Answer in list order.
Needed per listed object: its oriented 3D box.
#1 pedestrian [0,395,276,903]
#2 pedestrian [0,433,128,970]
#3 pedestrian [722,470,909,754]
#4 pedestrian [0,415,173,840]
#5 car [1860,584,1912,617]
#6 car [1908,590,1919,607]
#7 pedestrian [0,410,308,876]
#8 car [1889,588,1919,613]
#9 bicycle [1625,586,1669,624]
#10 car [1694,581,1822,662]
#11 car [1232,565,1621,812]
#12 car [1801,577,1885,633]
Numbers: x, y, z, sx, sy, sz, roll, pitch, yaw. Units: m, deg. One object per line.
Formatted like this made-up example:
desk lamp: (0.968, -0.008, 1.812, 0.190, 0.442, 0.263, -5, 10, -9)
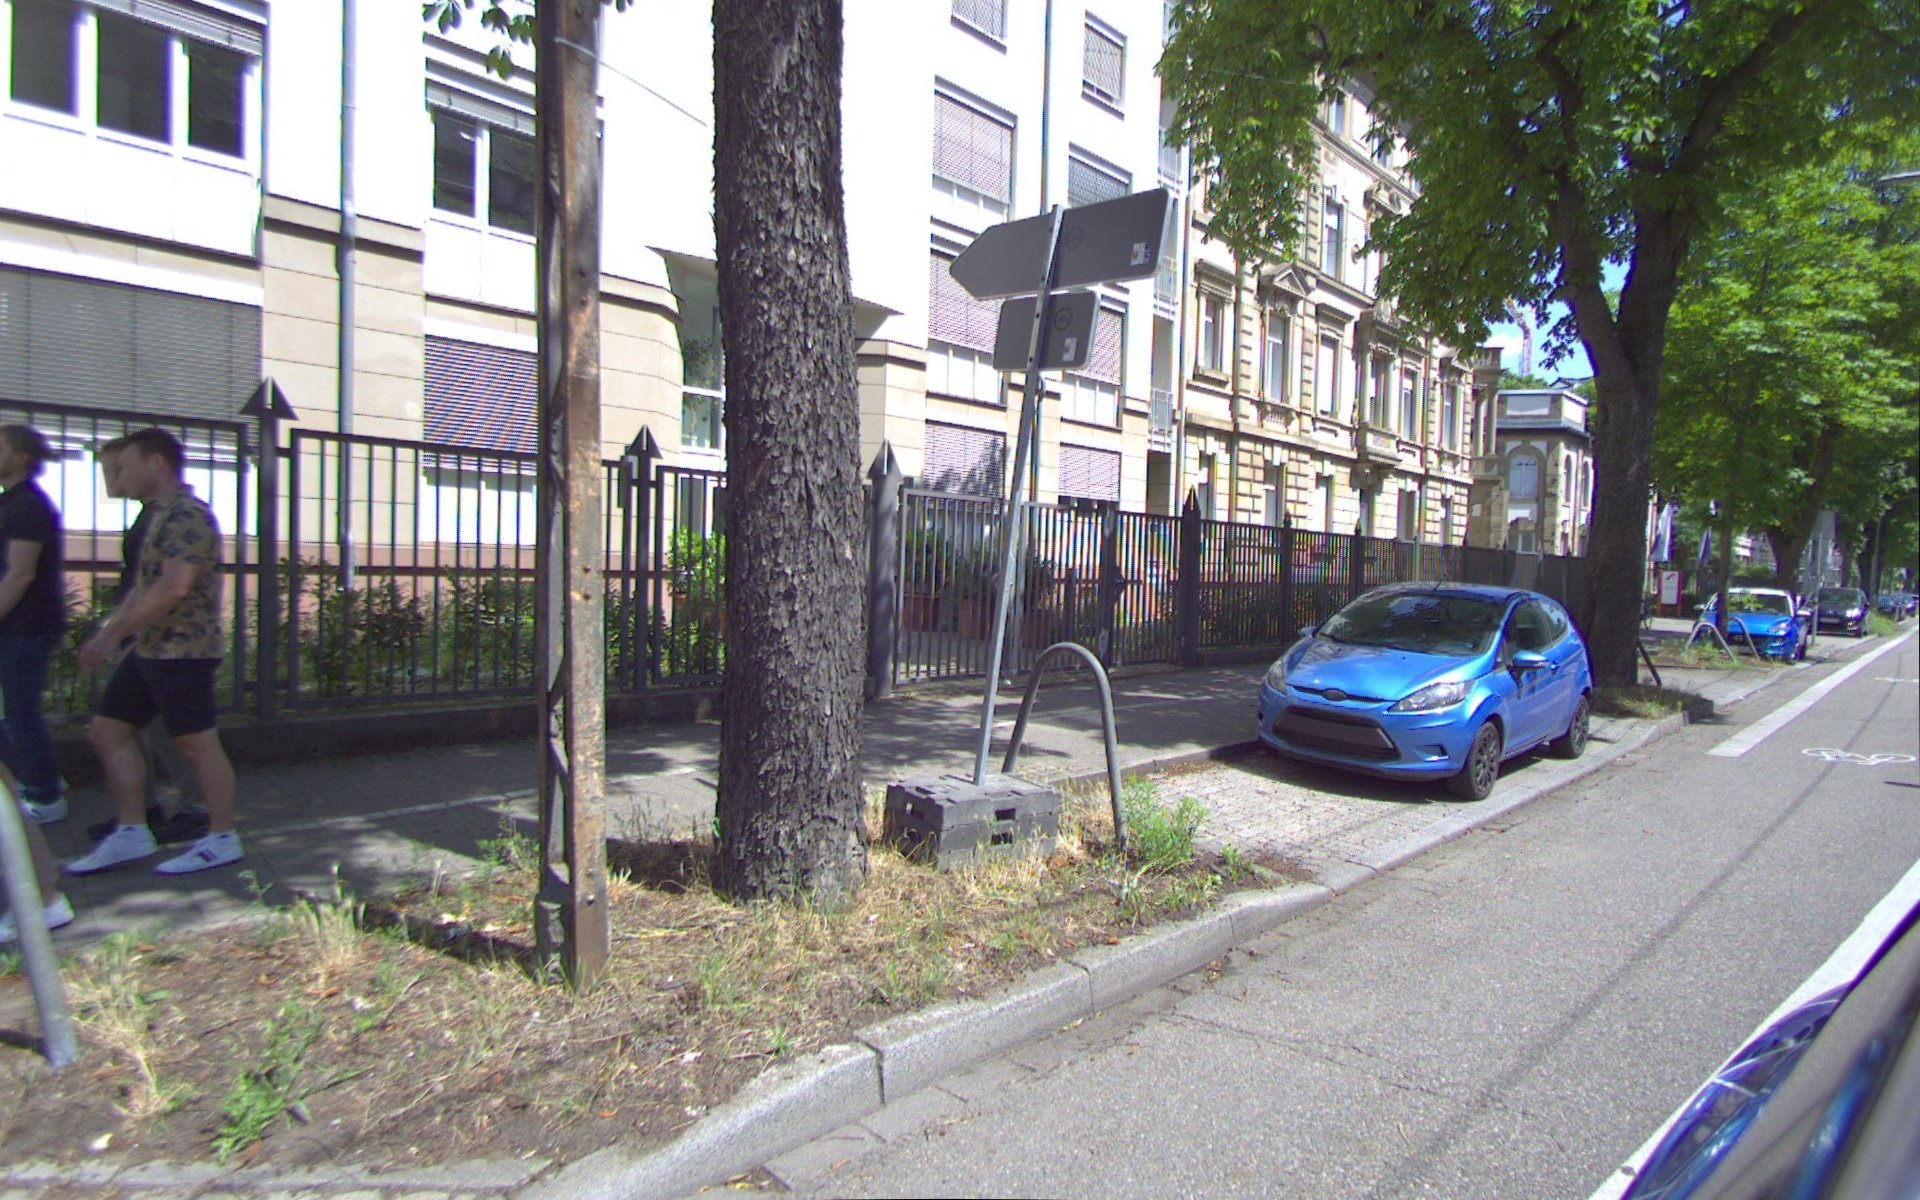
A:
pedestrian: (-3.390, 0.161, 4.074, 0.932, 1.798, 0.705, 0, 2, -45)
pedestrian: (-3.364, 0.302, 3.302, 0.957, 1.671, 0.767, 0, 2, -43)
pedestrian: (-1.001, 0.060, 7.105, 1.066, 1.819, 0.685, 0, 2, -45)
pedestrian: (-4.293, 0.106, 4.674, 0.961, 1.834, 0.661, 0, 2, -44)
car: (45.394, 0.013, 49.588, 3.760, 1.419, 1.624, 0, 5, -45)
car: (82.356, -0.109, 86.584, 3.935, 1.419, 1.624, 0, 5, -45)
pedestrian: (-3.616, 0.148, 4.504, 0.788, 1.783, 1.036, 3, 2, 43)
car: (58.864, 0.021, 62.736, 3.935, 1.419, 1.624, 0, 5, -45)
bicycle: (20.527, 0.135, 30.227, 1.947, 1.084, 0.608, 0, 2, -43)
car: (16.643, 0.387, 21.057, 1.692, 1.470, 3.418, 4, 3, 45)
car: (3.964, 0.536, 8.324, 1.679, 1.460, 3.661, 7, 5, 44)
car: (29.804, 0.137, 34.116, 4.017, 1.635, 1.732, 0, 5, -44)
